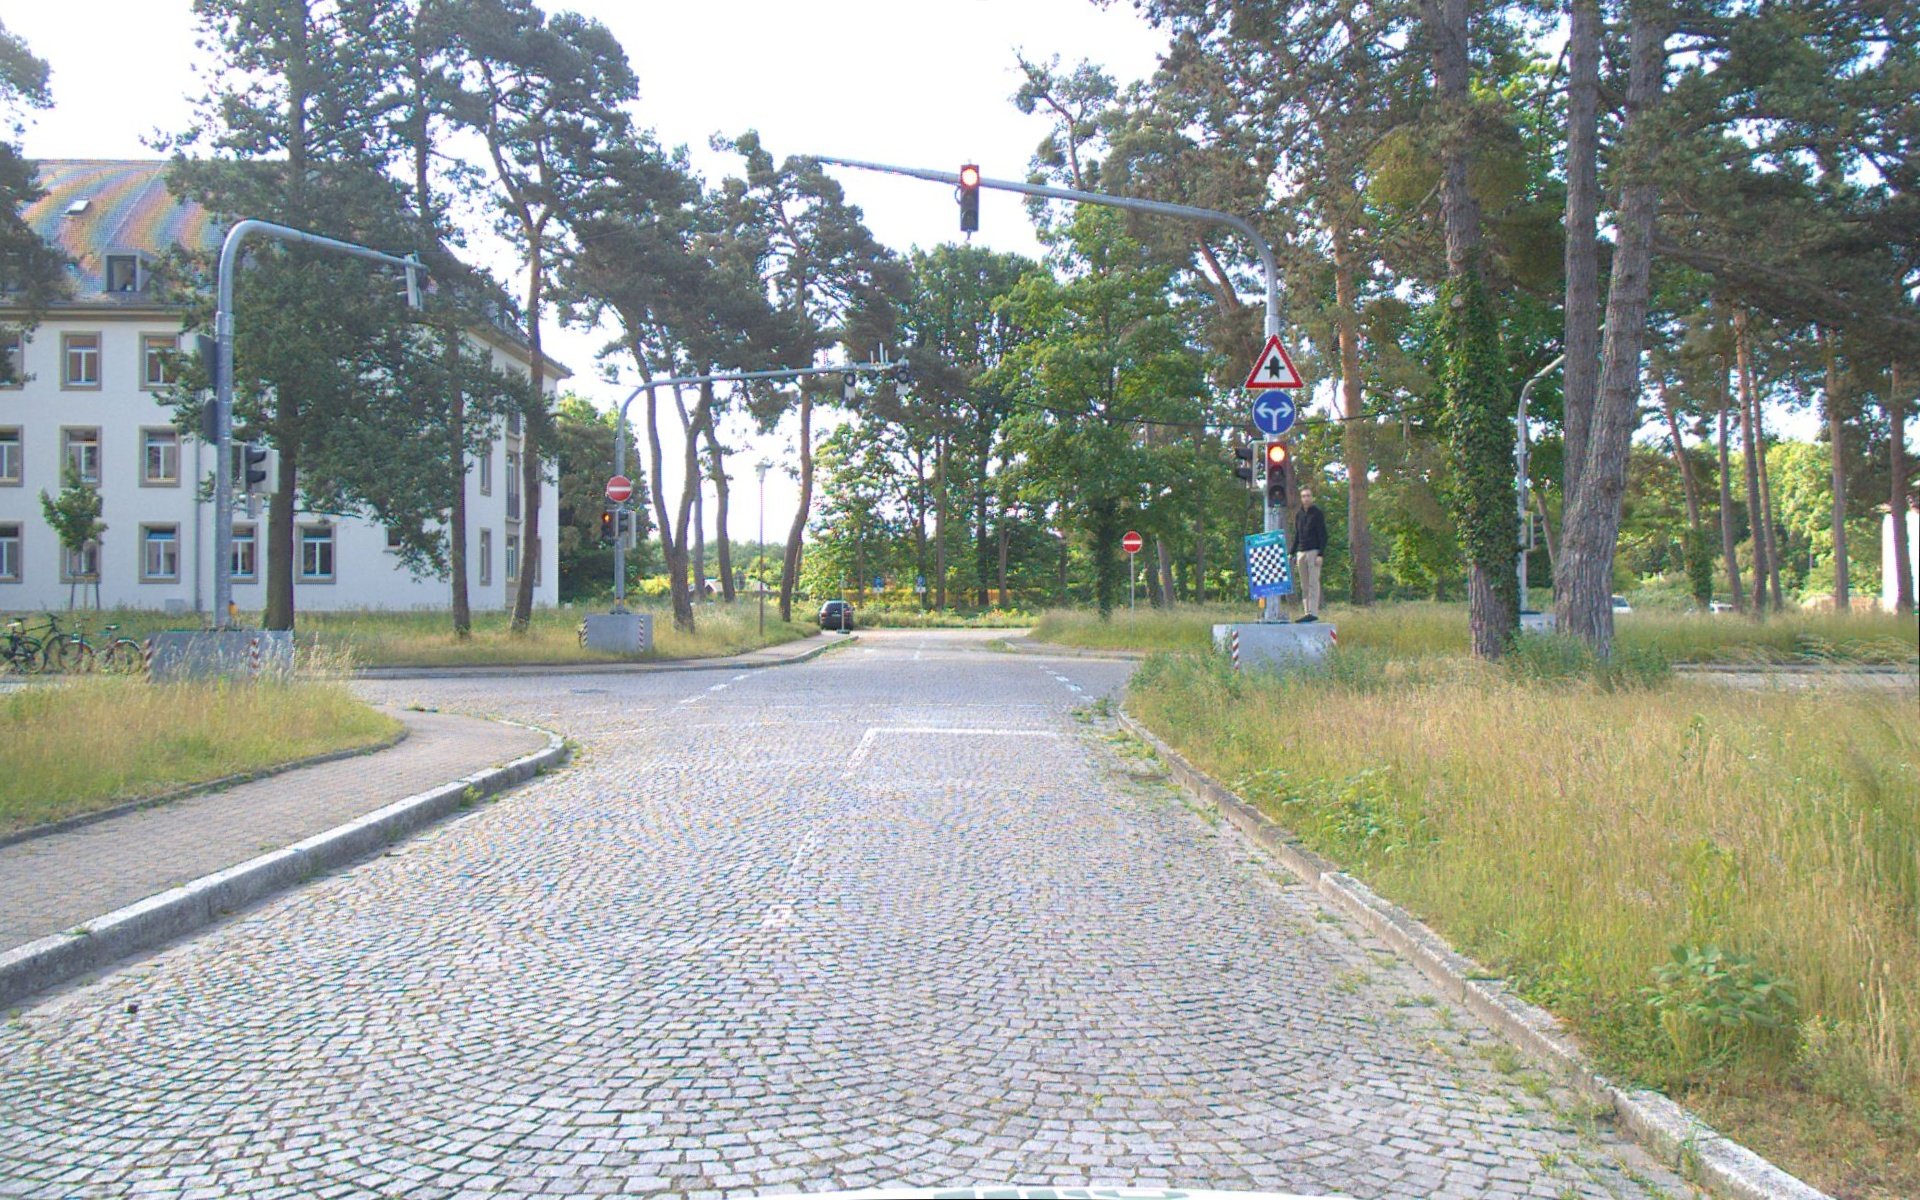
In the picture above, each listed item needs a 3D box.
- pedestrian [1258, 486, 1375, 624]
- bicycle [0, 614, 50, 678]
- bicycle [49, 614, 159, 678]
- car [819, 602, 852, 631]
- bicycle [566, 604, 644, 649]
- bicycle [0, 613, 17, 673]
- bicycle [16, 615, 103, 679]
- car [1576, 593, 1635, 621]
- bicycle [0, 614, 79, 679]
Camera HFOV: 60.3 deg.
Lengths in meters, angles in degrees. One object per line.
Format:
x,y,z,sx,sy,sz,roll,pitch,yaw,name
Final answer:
4.875,-0.599,22.624,1.054,1.827,1.154,-1,0,-42,pedestrian
-19.180,0.906,33.288,0.620,1.242,2.104,0,0,-1,bicycle
-16.861,0.903,32.589,1.824,1.242,0.635,0,0,-1,bicycle
-6.745,0.891,90.118,1.675,1.522,3.916,0,0,-3,car
-8.711,0.639,40.693,0.623,1.084,1.942,0,0,37,bicycle
-20.028,0.890,33.652,0.560,1.242,1.989,0,0,-1,bicycle
-18.111,0.925,33.317,0.620,1.242,2.114,0,0,-1,bicycle
37.713,0.418,96.743,1.790,1.609,4.162,0,0,-1,car
-18.586,0.917,33.296,0.620,1.242,2.123,0,0,-1,bicycle
